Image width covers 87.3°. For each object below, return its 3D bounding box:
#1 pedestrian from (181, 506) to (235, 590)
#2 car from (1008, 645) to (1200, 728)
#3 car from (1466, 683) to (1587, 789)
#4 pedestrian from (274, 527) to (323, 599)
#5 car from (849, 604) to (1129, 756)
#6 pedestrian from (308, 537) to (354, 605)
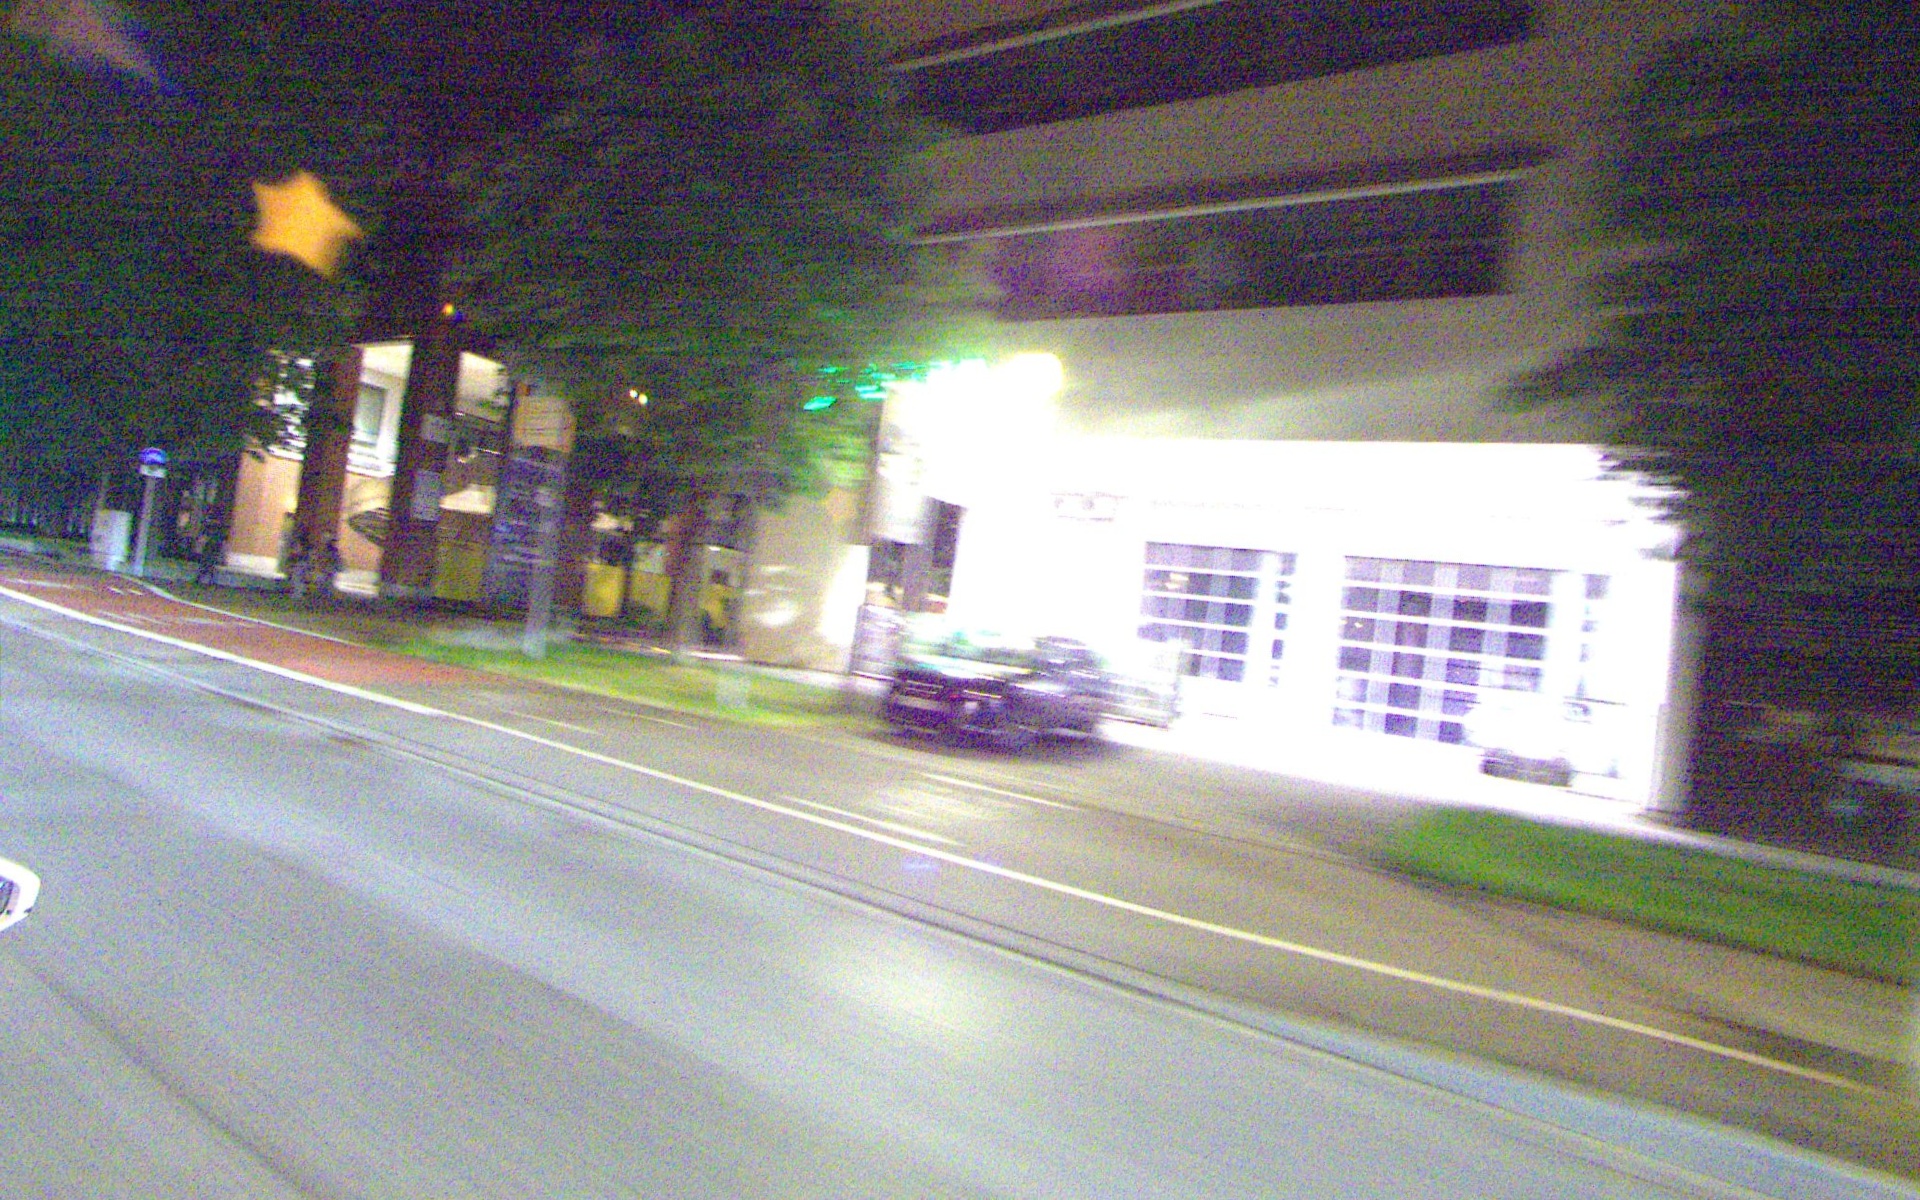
[{"bbox_3d":[-17.707,-1.222,23.690,0.746,1.833,0.622,7,0,32],"label":"pedestrian"},{"bbox_3d":[2.904,1.750,20.463,3.480,1.181,1.461,6,-2,31],"label":"car"},{"bbox_3d":[10.728,2.516,19.216,1.685,1.584,3.961,6,-2,28],"label":"car"},{"bbox_3d":[-16.300,-0.902,24.793,0.668,1.658,0.622,7,0,32],"label":"pedestrian"},{"bbox_3d":[0.561,1.043,13.026,1.757,1.471,4.089,6,-2,30],"label":"car"},{"bbox_3d":[-15.258,-0.700,24.412,0.623,1.552,0.573,7,0,32],"label":"pedestrian"}]
